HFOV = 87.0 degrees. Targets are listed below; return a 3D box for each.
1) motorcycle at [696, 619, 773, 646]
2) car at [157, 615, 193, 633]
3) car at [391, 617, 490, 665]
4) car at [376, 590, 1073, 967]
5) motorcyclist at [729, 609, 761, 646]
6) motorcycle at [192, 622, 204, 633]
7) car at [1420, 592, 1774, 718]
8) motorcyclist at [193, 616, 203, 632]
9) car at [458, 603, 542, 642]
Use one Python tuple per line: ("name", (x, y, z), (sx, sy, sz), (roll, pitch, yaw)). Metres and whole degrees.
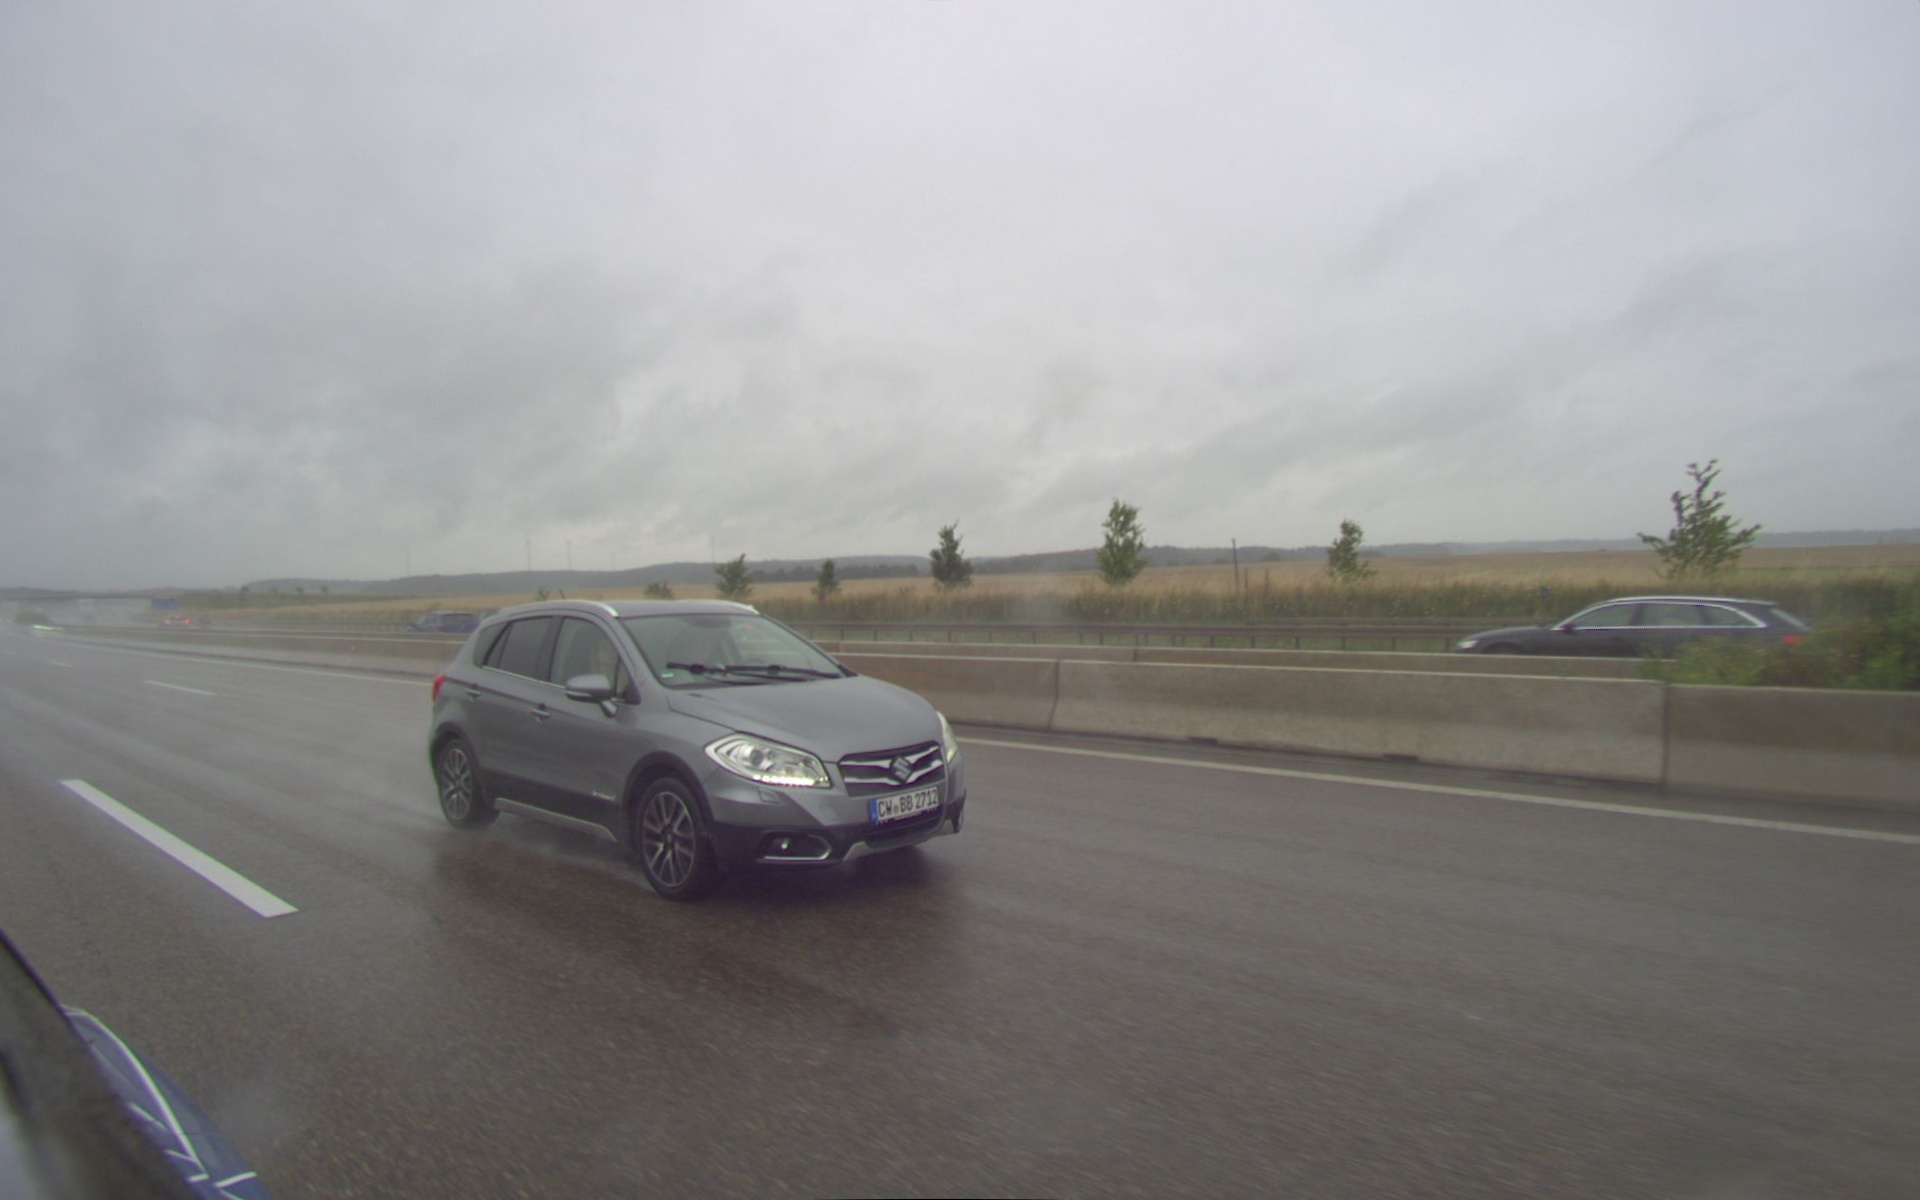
("motorcycle", (-8.375, 1.189, 37.470), (3.544, 0.920, 0.909), (-1, -1, 42))
("car", (-70.647, 2.184, 91.052), (4.000, 1.564, 1.972), (-1, -1, 43))
("car", (-18.790, 1.446, 36.554), (4.083, 1.586, 1.801), (-1, -1, 41))
("car", (-1.780, 0.758, 6.379), (4.753, 1.524, 1.827), (-1, 0, 41))
("motorcyclist", (-7.889, 1.011, 37.098), (0.940, 1.318, 0.741), (-1, -1, 41))
("motorcycle", (-75.529, 2.763, 100.307), (1.599, 1.071, 0.631), (-1, -1, 42))
("car", (9.853, 0.777, 15.851), (4.441, 1.696, 1.973), (-1, -1, 41))
("motorcyclist", (-75.537, 2.347, 100.315), (0.839, 1.578, 0.667), (-1, -1, 41))
("car", (-18.888, 0.907, 41.497), (3.999, 1.497, 1.677), (-1, -1, 42))
